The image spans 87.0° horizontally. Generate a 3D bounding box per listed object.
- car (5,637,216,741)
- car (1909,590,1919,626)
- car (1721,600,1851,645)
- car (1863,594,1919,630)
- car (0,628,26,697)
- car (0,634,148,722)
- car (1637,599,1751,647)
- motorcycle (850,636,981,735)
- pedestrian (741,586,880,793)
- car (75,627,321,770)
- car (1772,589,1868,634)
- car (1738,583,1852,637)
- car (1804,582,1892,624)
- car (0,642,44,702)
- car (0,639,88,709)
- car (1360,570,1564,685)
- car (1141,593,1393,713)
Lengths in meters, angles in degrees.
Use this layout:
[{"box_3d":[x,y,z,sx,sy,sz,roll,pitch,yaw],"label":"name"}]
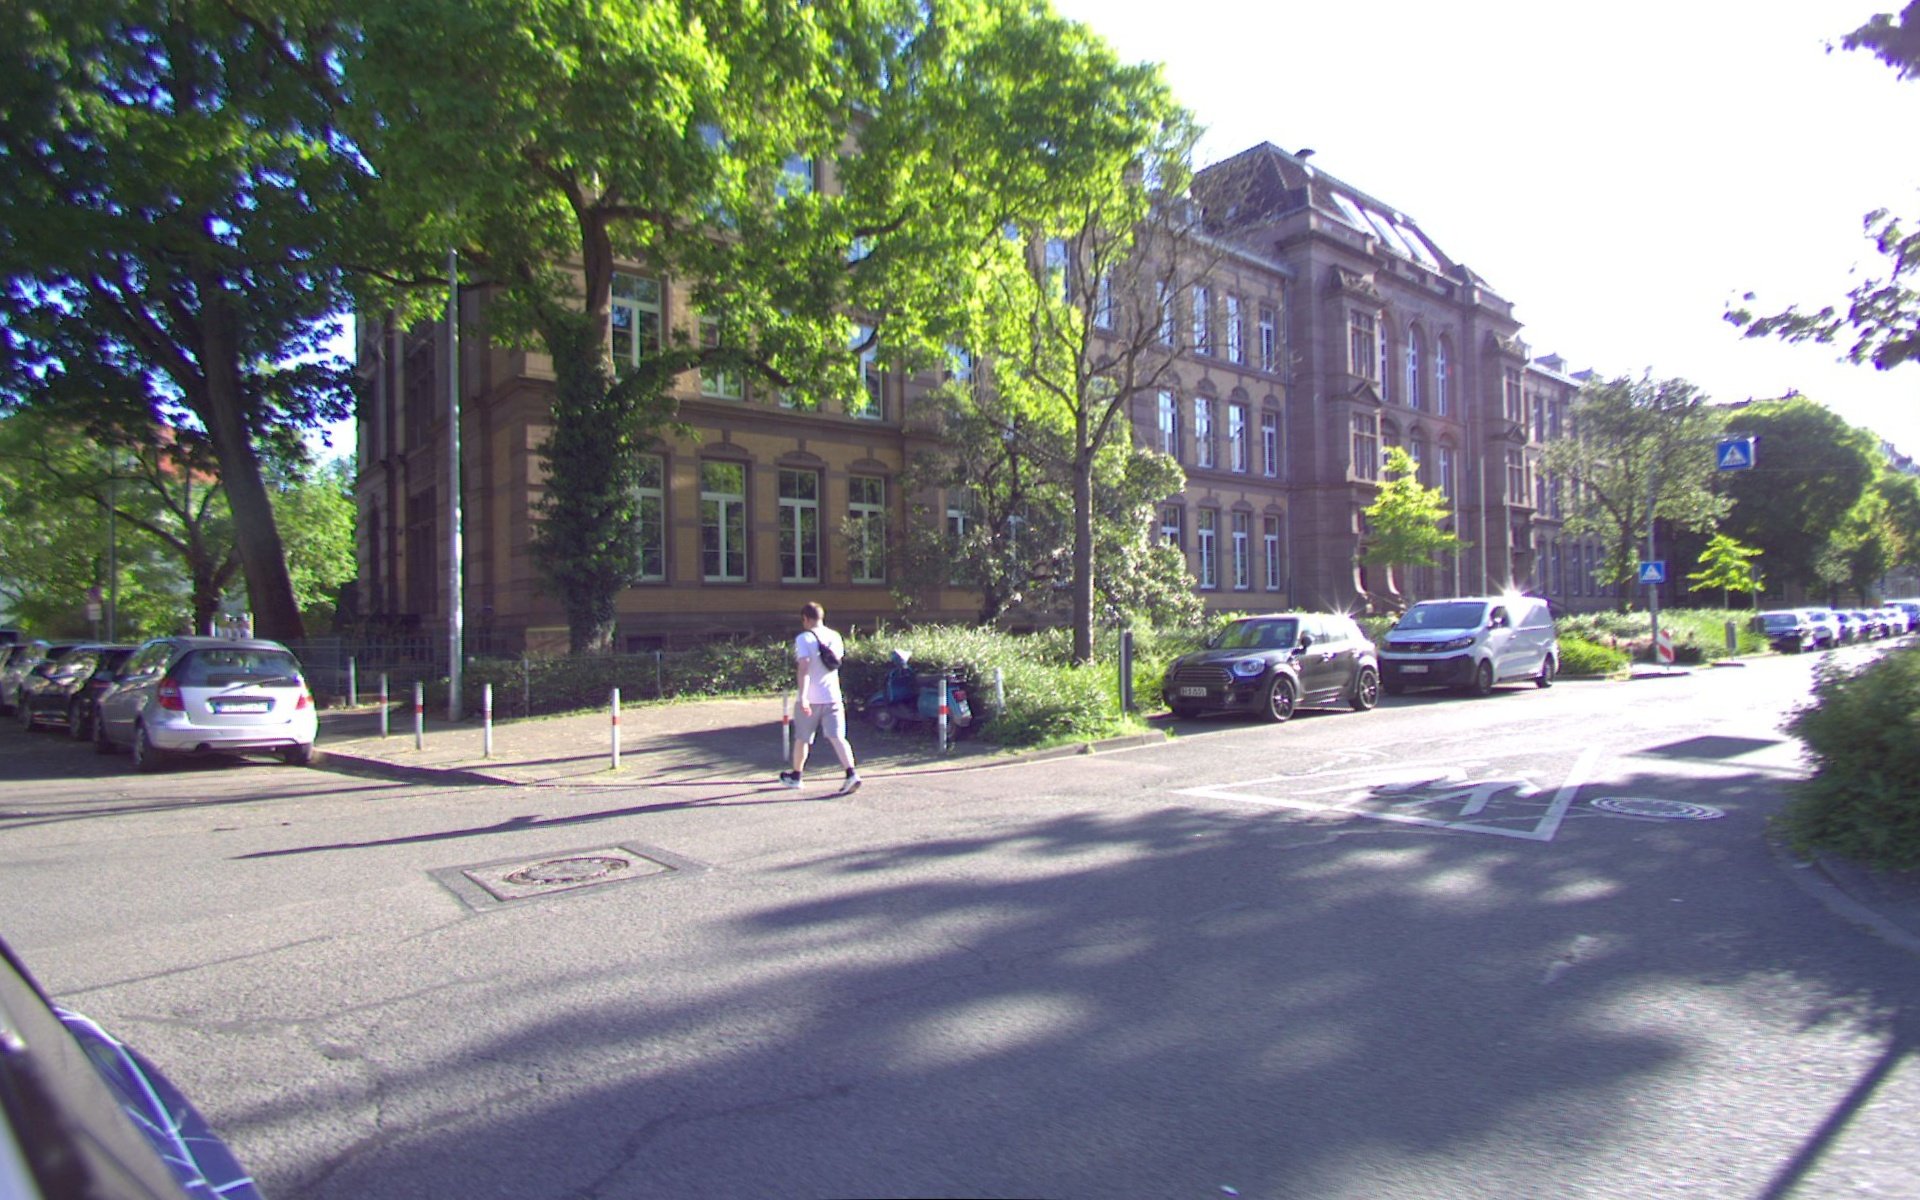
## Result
[{"box_3d":[-13.833,1.373,16.423,3.990,1.475,1.567,-1,-4,35],"label":"car"},{"box_3d":[55.980,0.419,57.748,3.936,2.029,2.004,0,-2,-38],"label":"car"},{"box_3d":[23.416,0.624,28.669,3.725,1.185,2.004,-1,-1,-37],"label":"car"},{"box_3d":[47.237,0.587,50.832,4.366,1.692,2.004,-1,-1,-37],"label":"car"},{"box_3d":[-29.415,1.841,29.977,5.039,1.973,1.973,-3,-4,41],"label":"car"},{"box_3d":[-17.524,1.490,19.778,3.996,1.545,1.770,-3,-4,40],"label":"car"},{"box_3d":[22.137,0.673,30.475,3.936,1.314,1.741,0,-1,-39],"label":"car"},{"box_3d":[-0.580,1.011,12.400,0.536,1.110,1.898,-1,-2,-40],"label":"motorcycle"},{"box_3d":[-1.373,0.770,9.226,0.793,1.759,1.007,0,-2,-43],"label":"pedestrian"},{"box_3d":[-9.962,1.179,13.132,3.949,1.570,1.688,-2,-4,40],"label":"car"},{"box_3d":[34.327,0.453,40.355,4.366,1.692,2.004,-1,-1,-37],"label":"car"},{"box_3d":[28.254,0.332,34.204,4.366,1.692,2.004,-1,-1,-37],"label":"car"},{"box_3d":[38.588,0.131,43.938,4.366,1.692,2.004,-1,-1,-37],"label":"car"},{"box_3d":[-25.304,1.871,26.342,3.842,1.475,1.709,-3,-3,41],"label":"car"},{"box_3d":[-21.521,1.681,23.388,3.308,1.475,1.604,-3,-3,41],"label":"car"},{"box_3d":[10.124,0.537,20.262,4.578,2.029,2.002,0,-4,-42],"label":"car"},{"box_3d":[4.851,0.734,15.717,4.082,1.587,1.887,-1,-1,-42],"label":"car"}]
